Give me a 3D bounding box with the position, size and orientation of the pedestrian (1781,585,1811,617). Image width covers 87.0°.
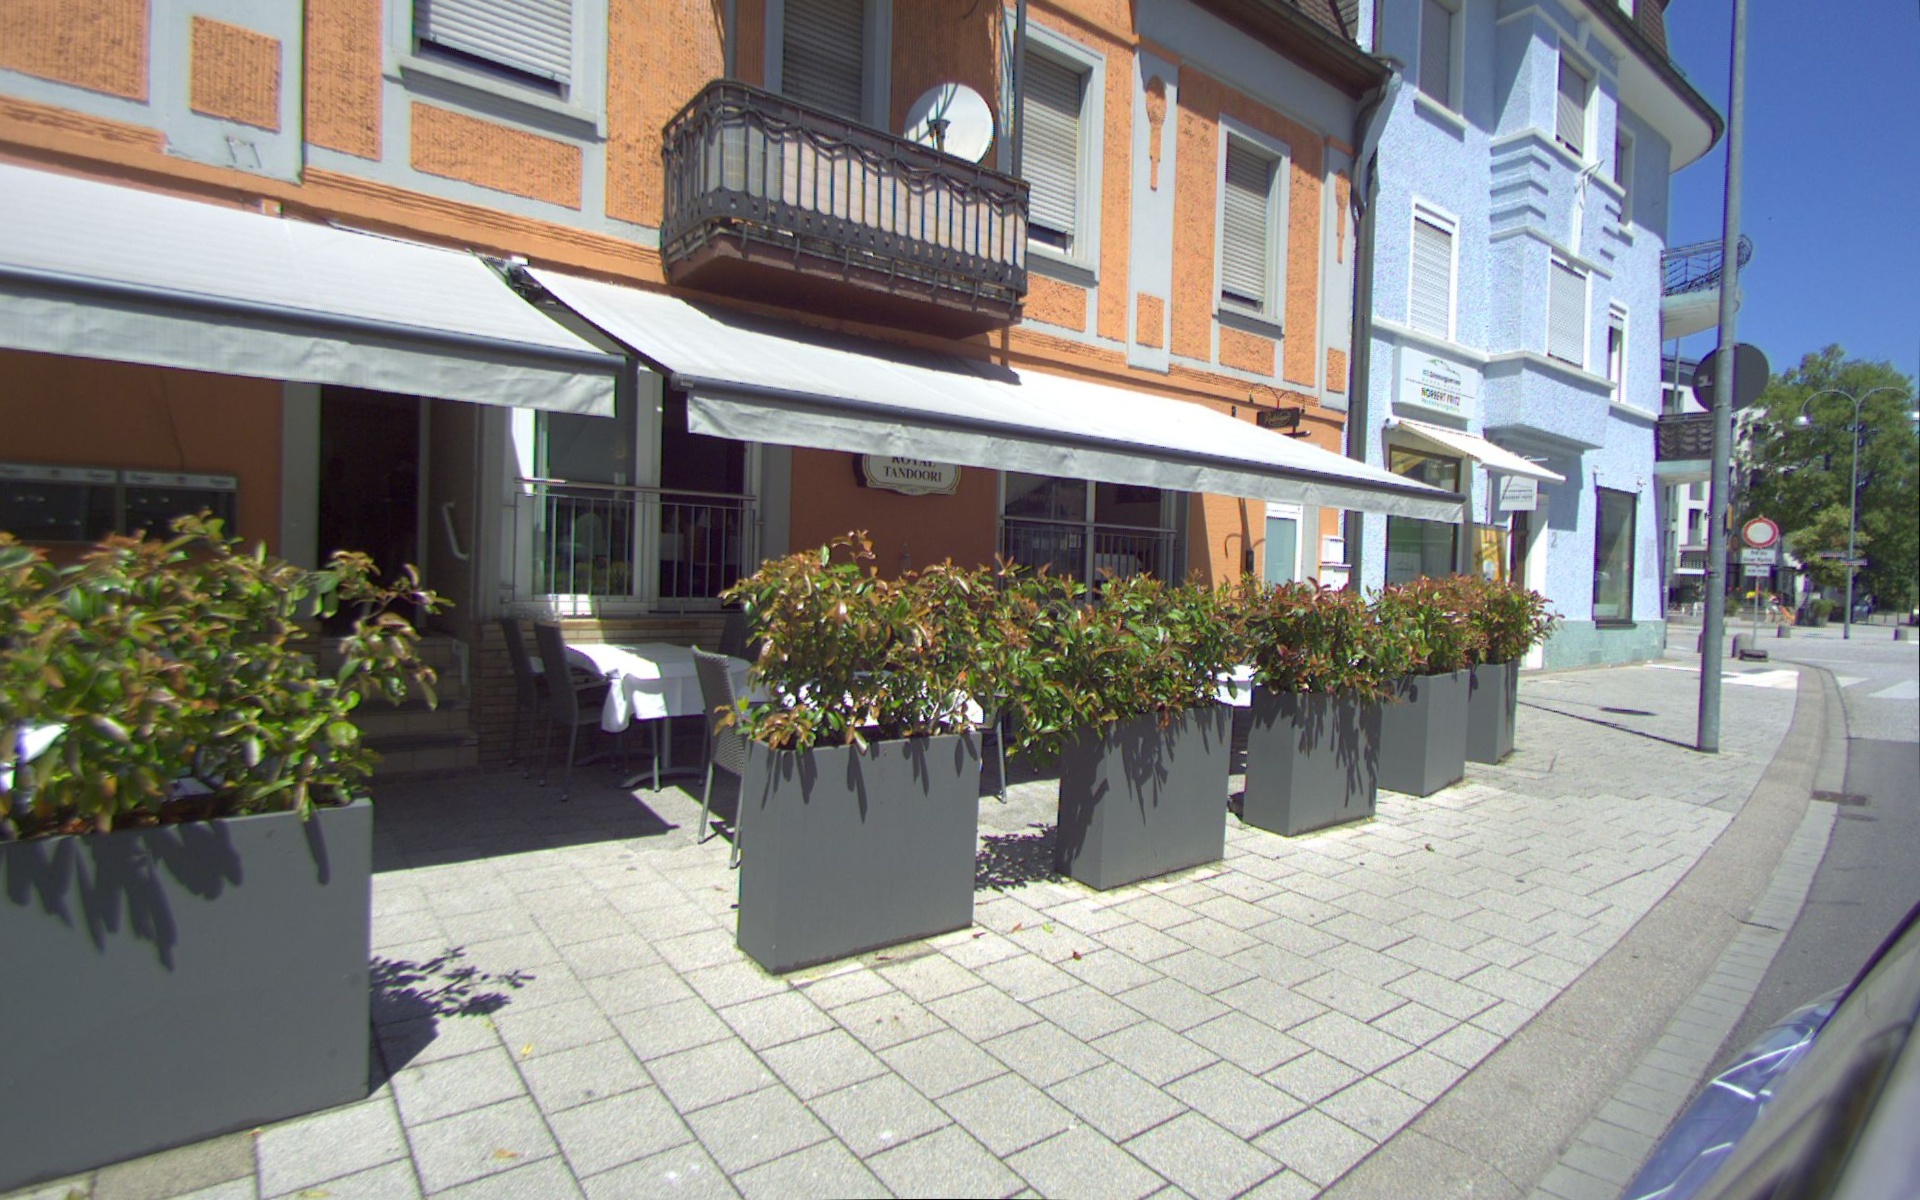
[{"bbox_3d":[44.406,0.072,53.766,0.931,1.669,0.820,1,1,-9],"label":"pedestrian"}]
